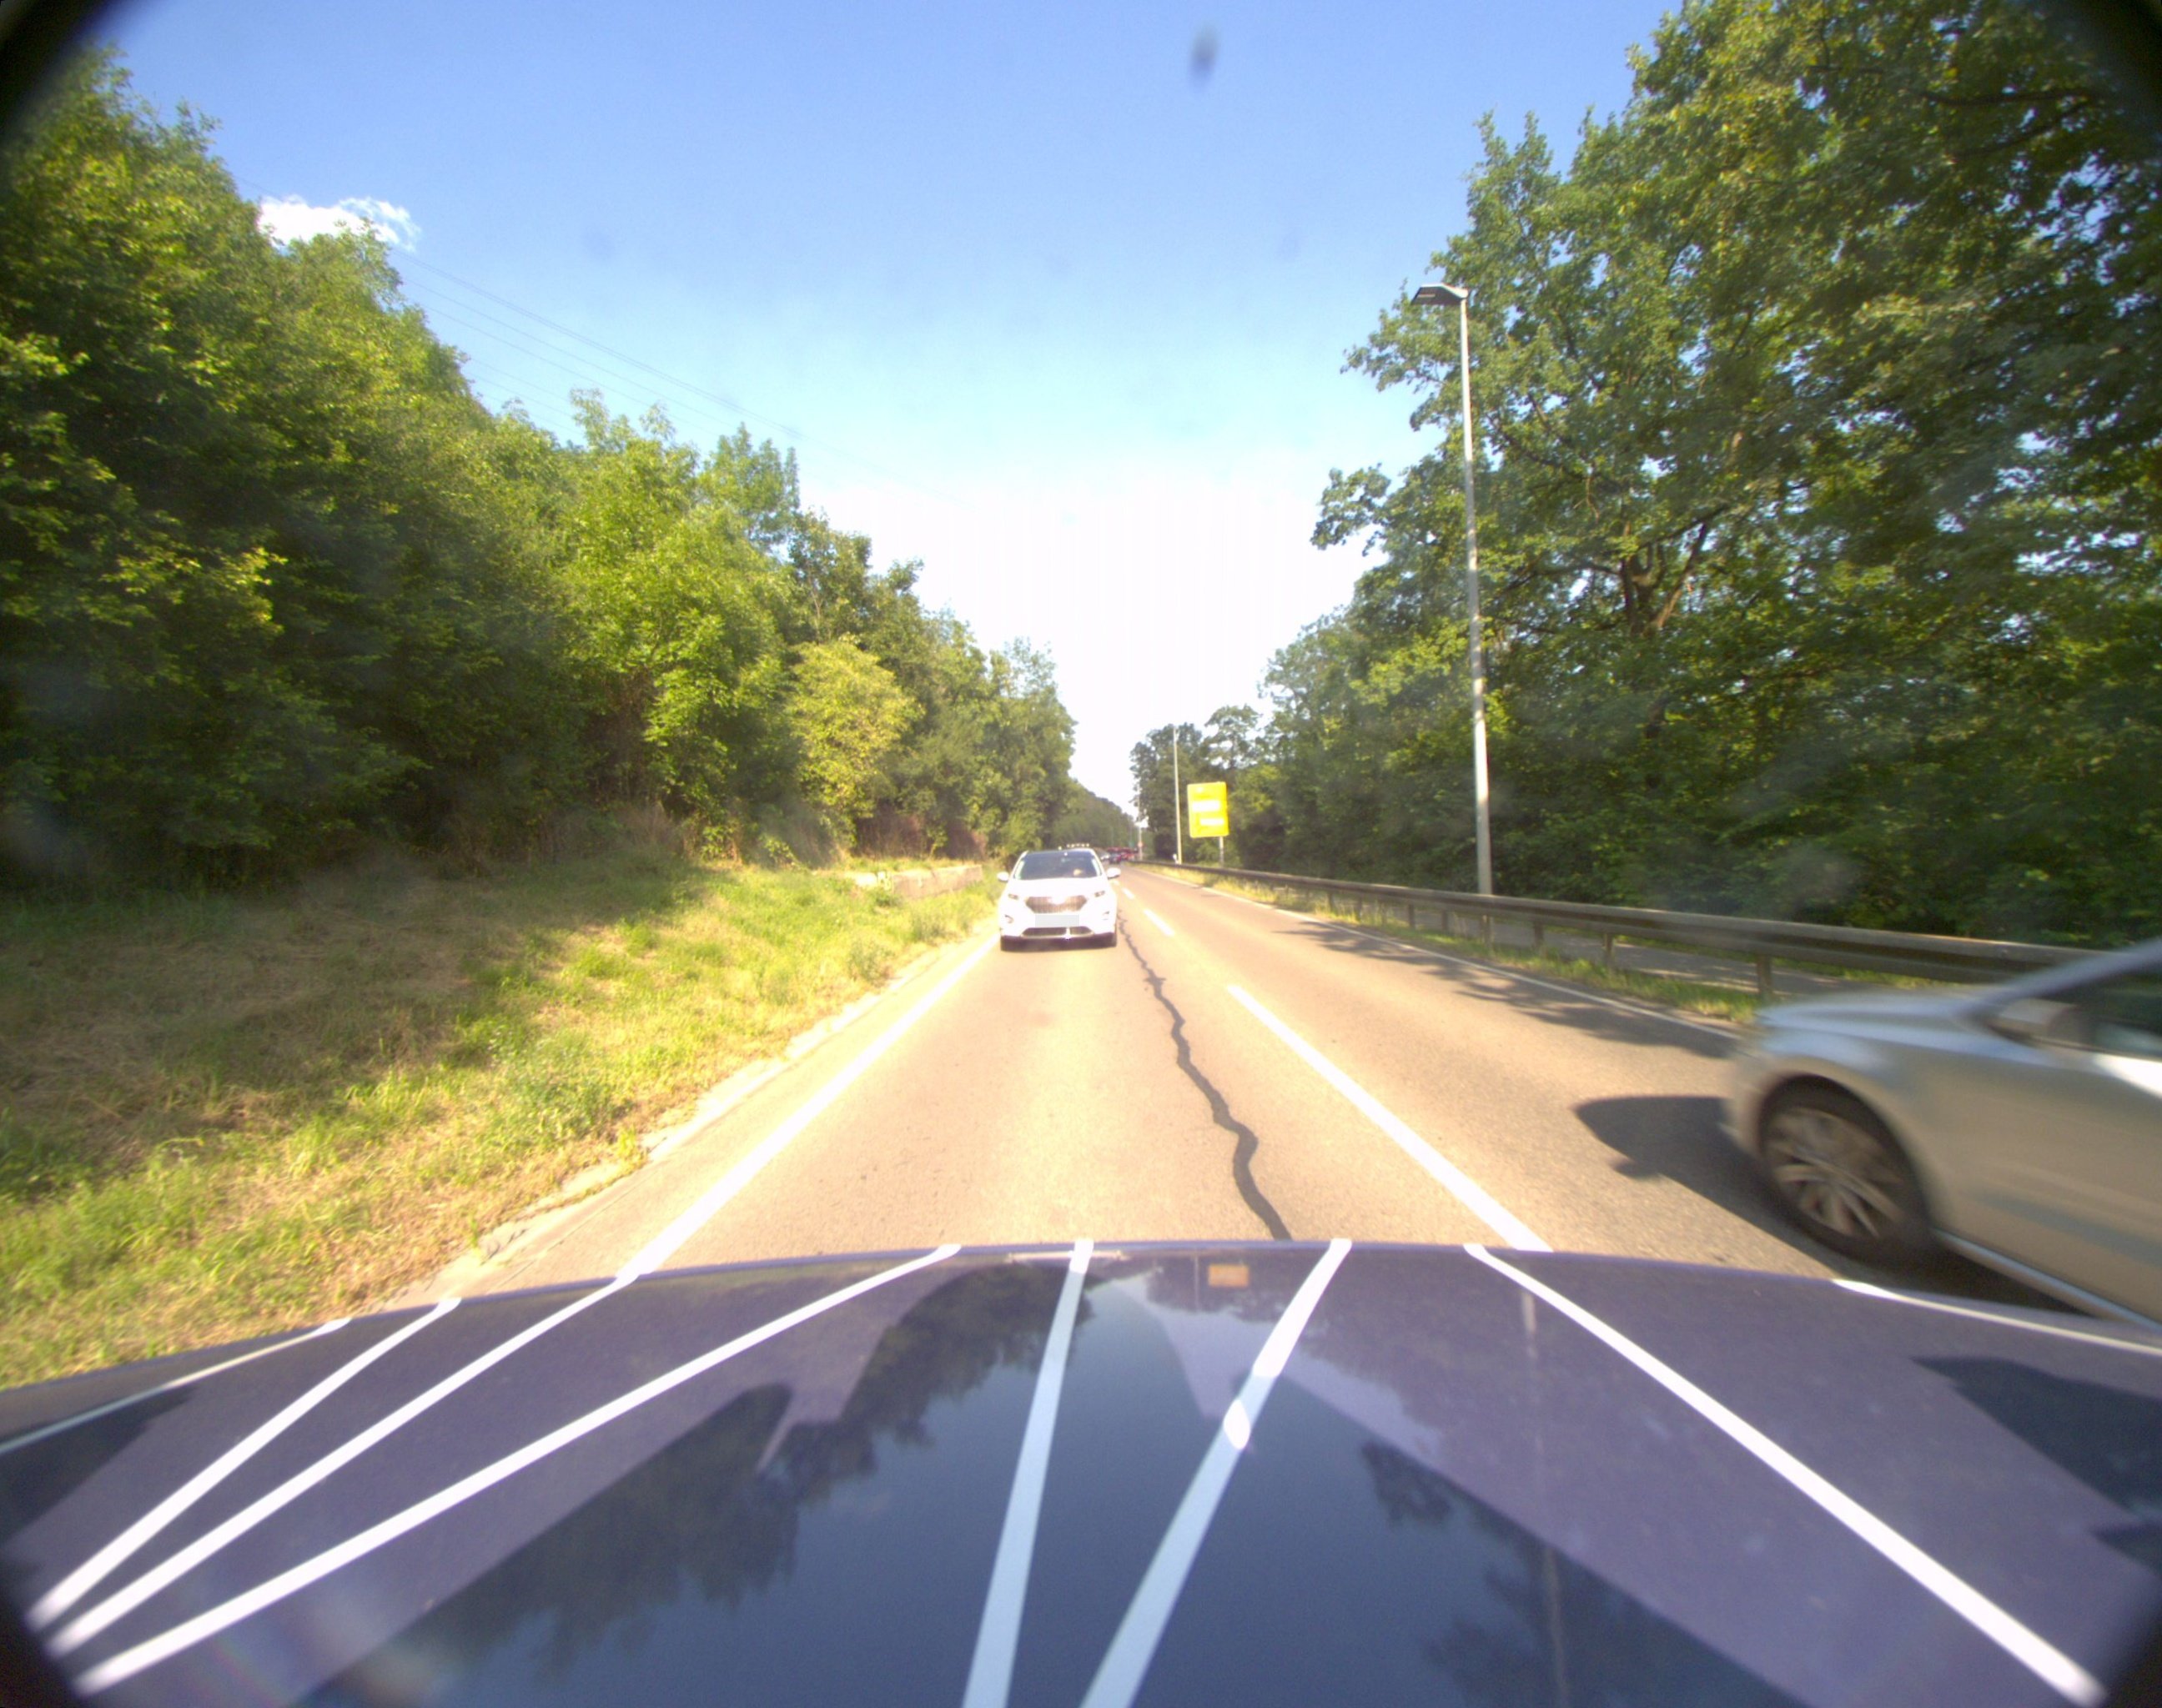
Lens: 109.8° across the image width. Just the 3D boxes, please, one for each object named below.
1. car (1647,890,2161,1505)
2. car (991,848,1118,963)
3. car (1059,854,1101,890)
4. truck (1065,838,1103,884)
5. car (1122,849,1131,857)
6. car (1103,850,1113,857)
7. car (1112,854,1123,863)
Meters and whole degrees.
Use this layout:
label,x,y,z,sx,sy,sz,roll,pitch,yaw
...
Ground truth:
label,x,y,z,sx,sy,sz,roll,pitch,yaw
car,3.411,0.874,1.463,1.627,1.369,4.047,-1,0,0
car,-0.377,0.788,13.711,1.894,1.691,4.136,-2,0,1
car,-0.012,0.768,34.656,1.704,1.477,4.136,-3,0,1
truck,0.194,0.361,43.001,1.894,2.334,5.273,-3,0,1
car,9.428,-0.180,158.951,1.752,1.707,4.221,-2,0,3
car,6.686,-0.162,184.971,1.997,1.647,4.002,-1,0,8
car,6.009,0.749,124.804,1.695,1.412,4.142,0,1,2
